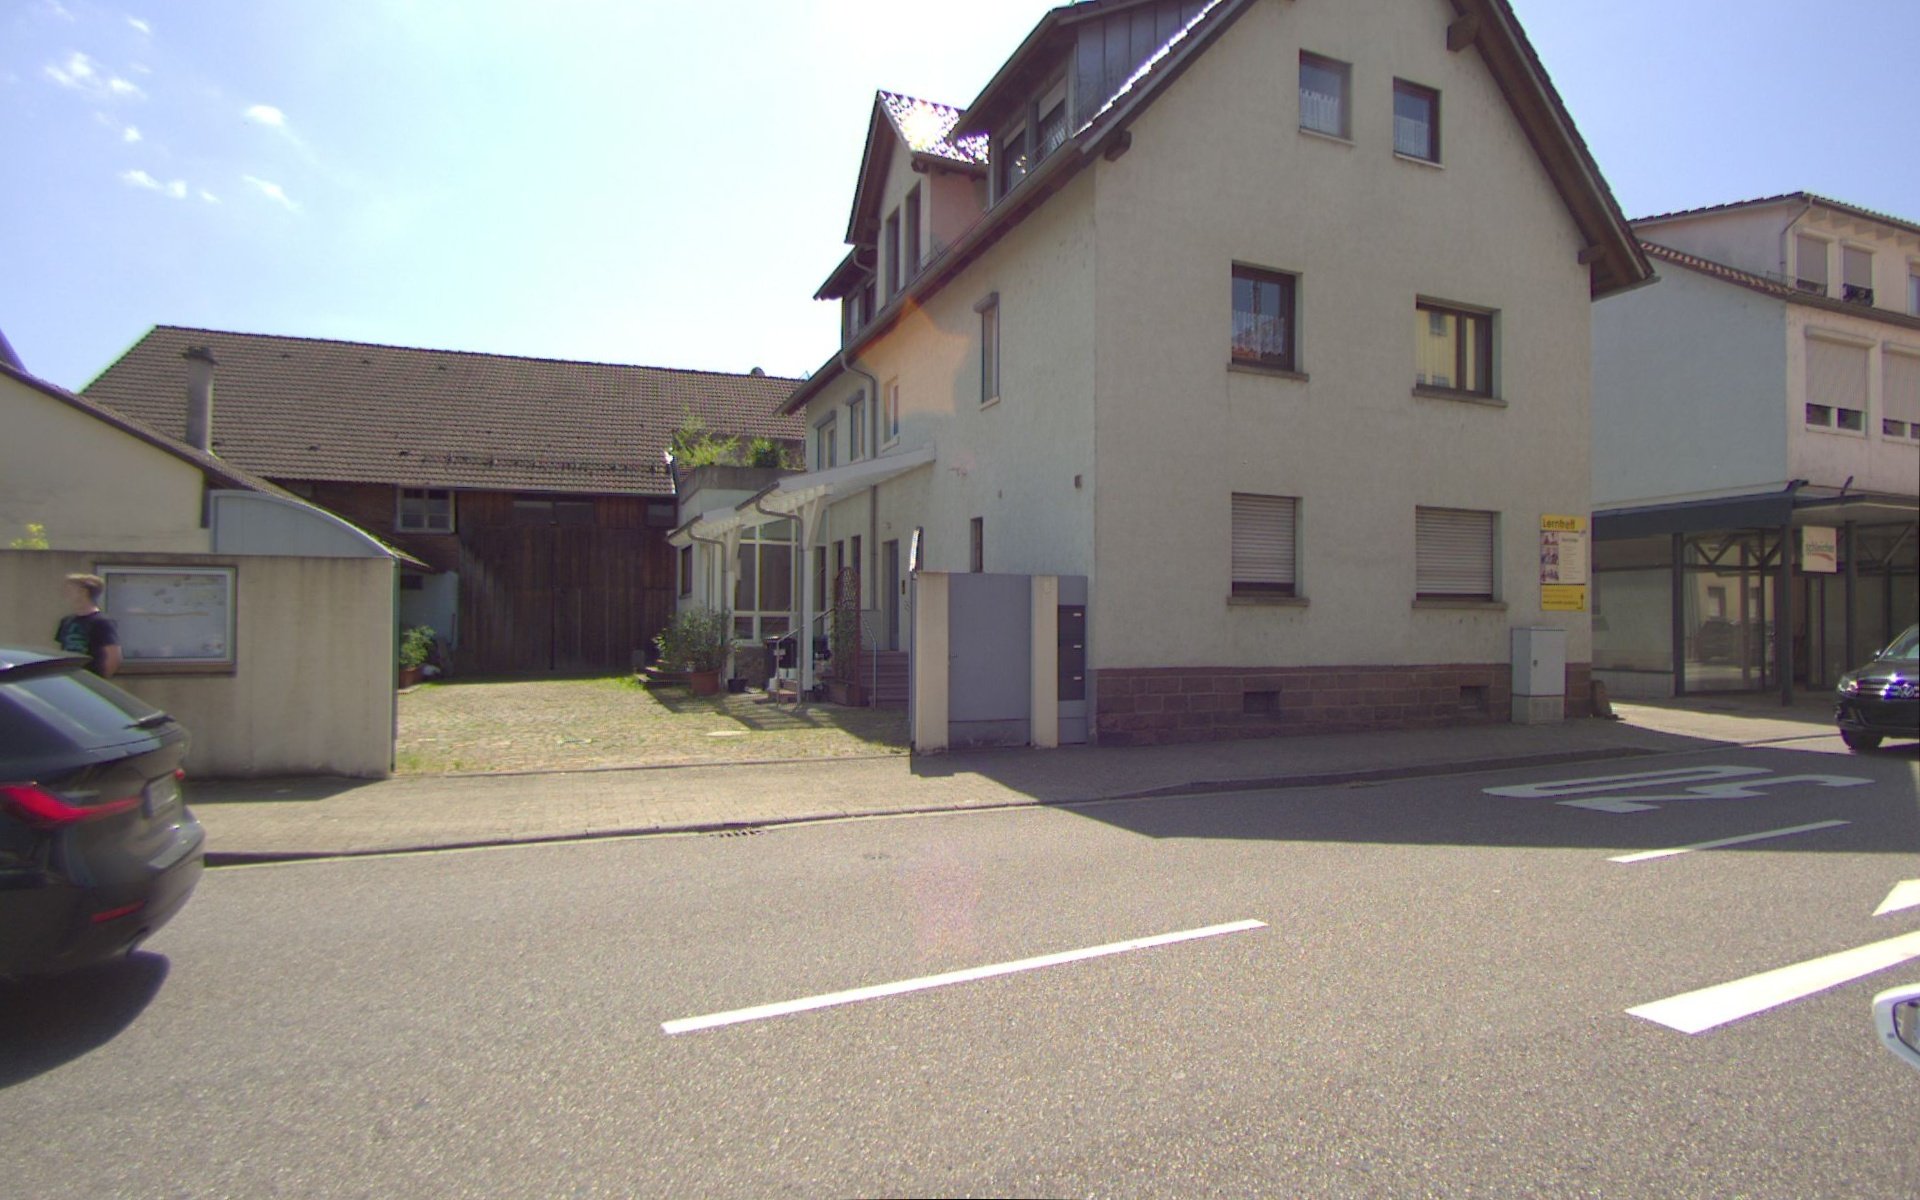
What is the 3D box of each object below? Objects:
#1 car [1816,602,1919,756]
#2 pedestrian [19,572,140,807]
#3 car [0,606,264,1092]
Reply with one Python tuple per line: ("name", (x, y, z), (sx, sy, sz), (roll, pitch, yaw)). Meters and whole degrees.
("car", (12.442, 0.880, 12.207), (4.060, 1.721, 1.685), (0, -2, -28))
("pedestrian", (-6.933, 0.688, 7.931), (0.547, 1.788, 0.434), (0, -1, -11))
("car", (-4.940, 0.762, 3.092), (4.367, 1.512, 1.786), (2, -3, -29))
